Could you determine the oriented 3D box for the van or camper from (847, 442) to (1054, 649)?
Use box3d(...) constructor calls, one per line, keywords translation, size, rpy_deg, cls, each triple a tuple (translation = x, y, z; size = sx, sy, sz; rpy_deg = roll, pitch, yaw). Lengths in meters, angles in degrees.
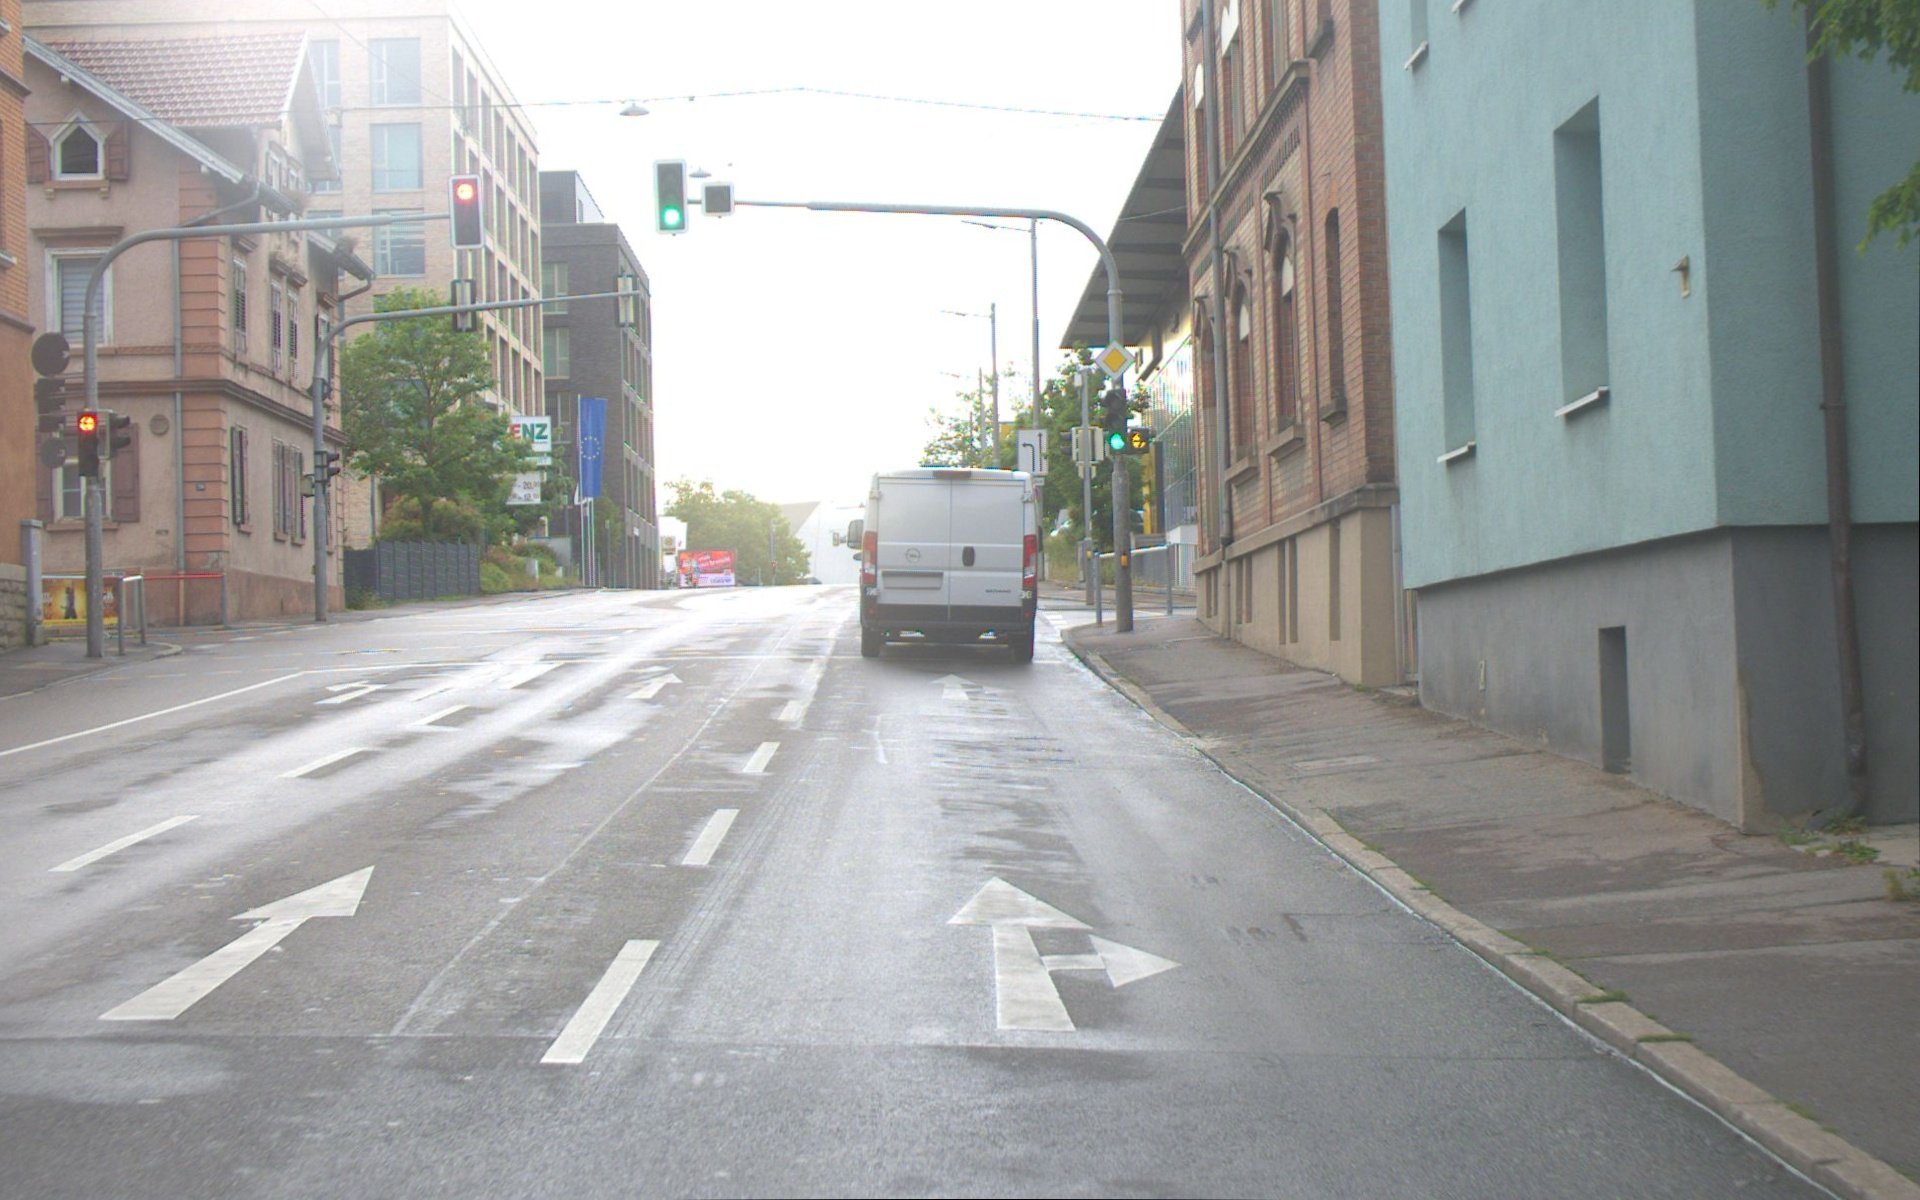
box3d(translation=(-0.121, -0.630, 41.545), size=(2.340, 2.349, 5.199), rpy_deg=(0, 0, 0), cls="van or camper")
